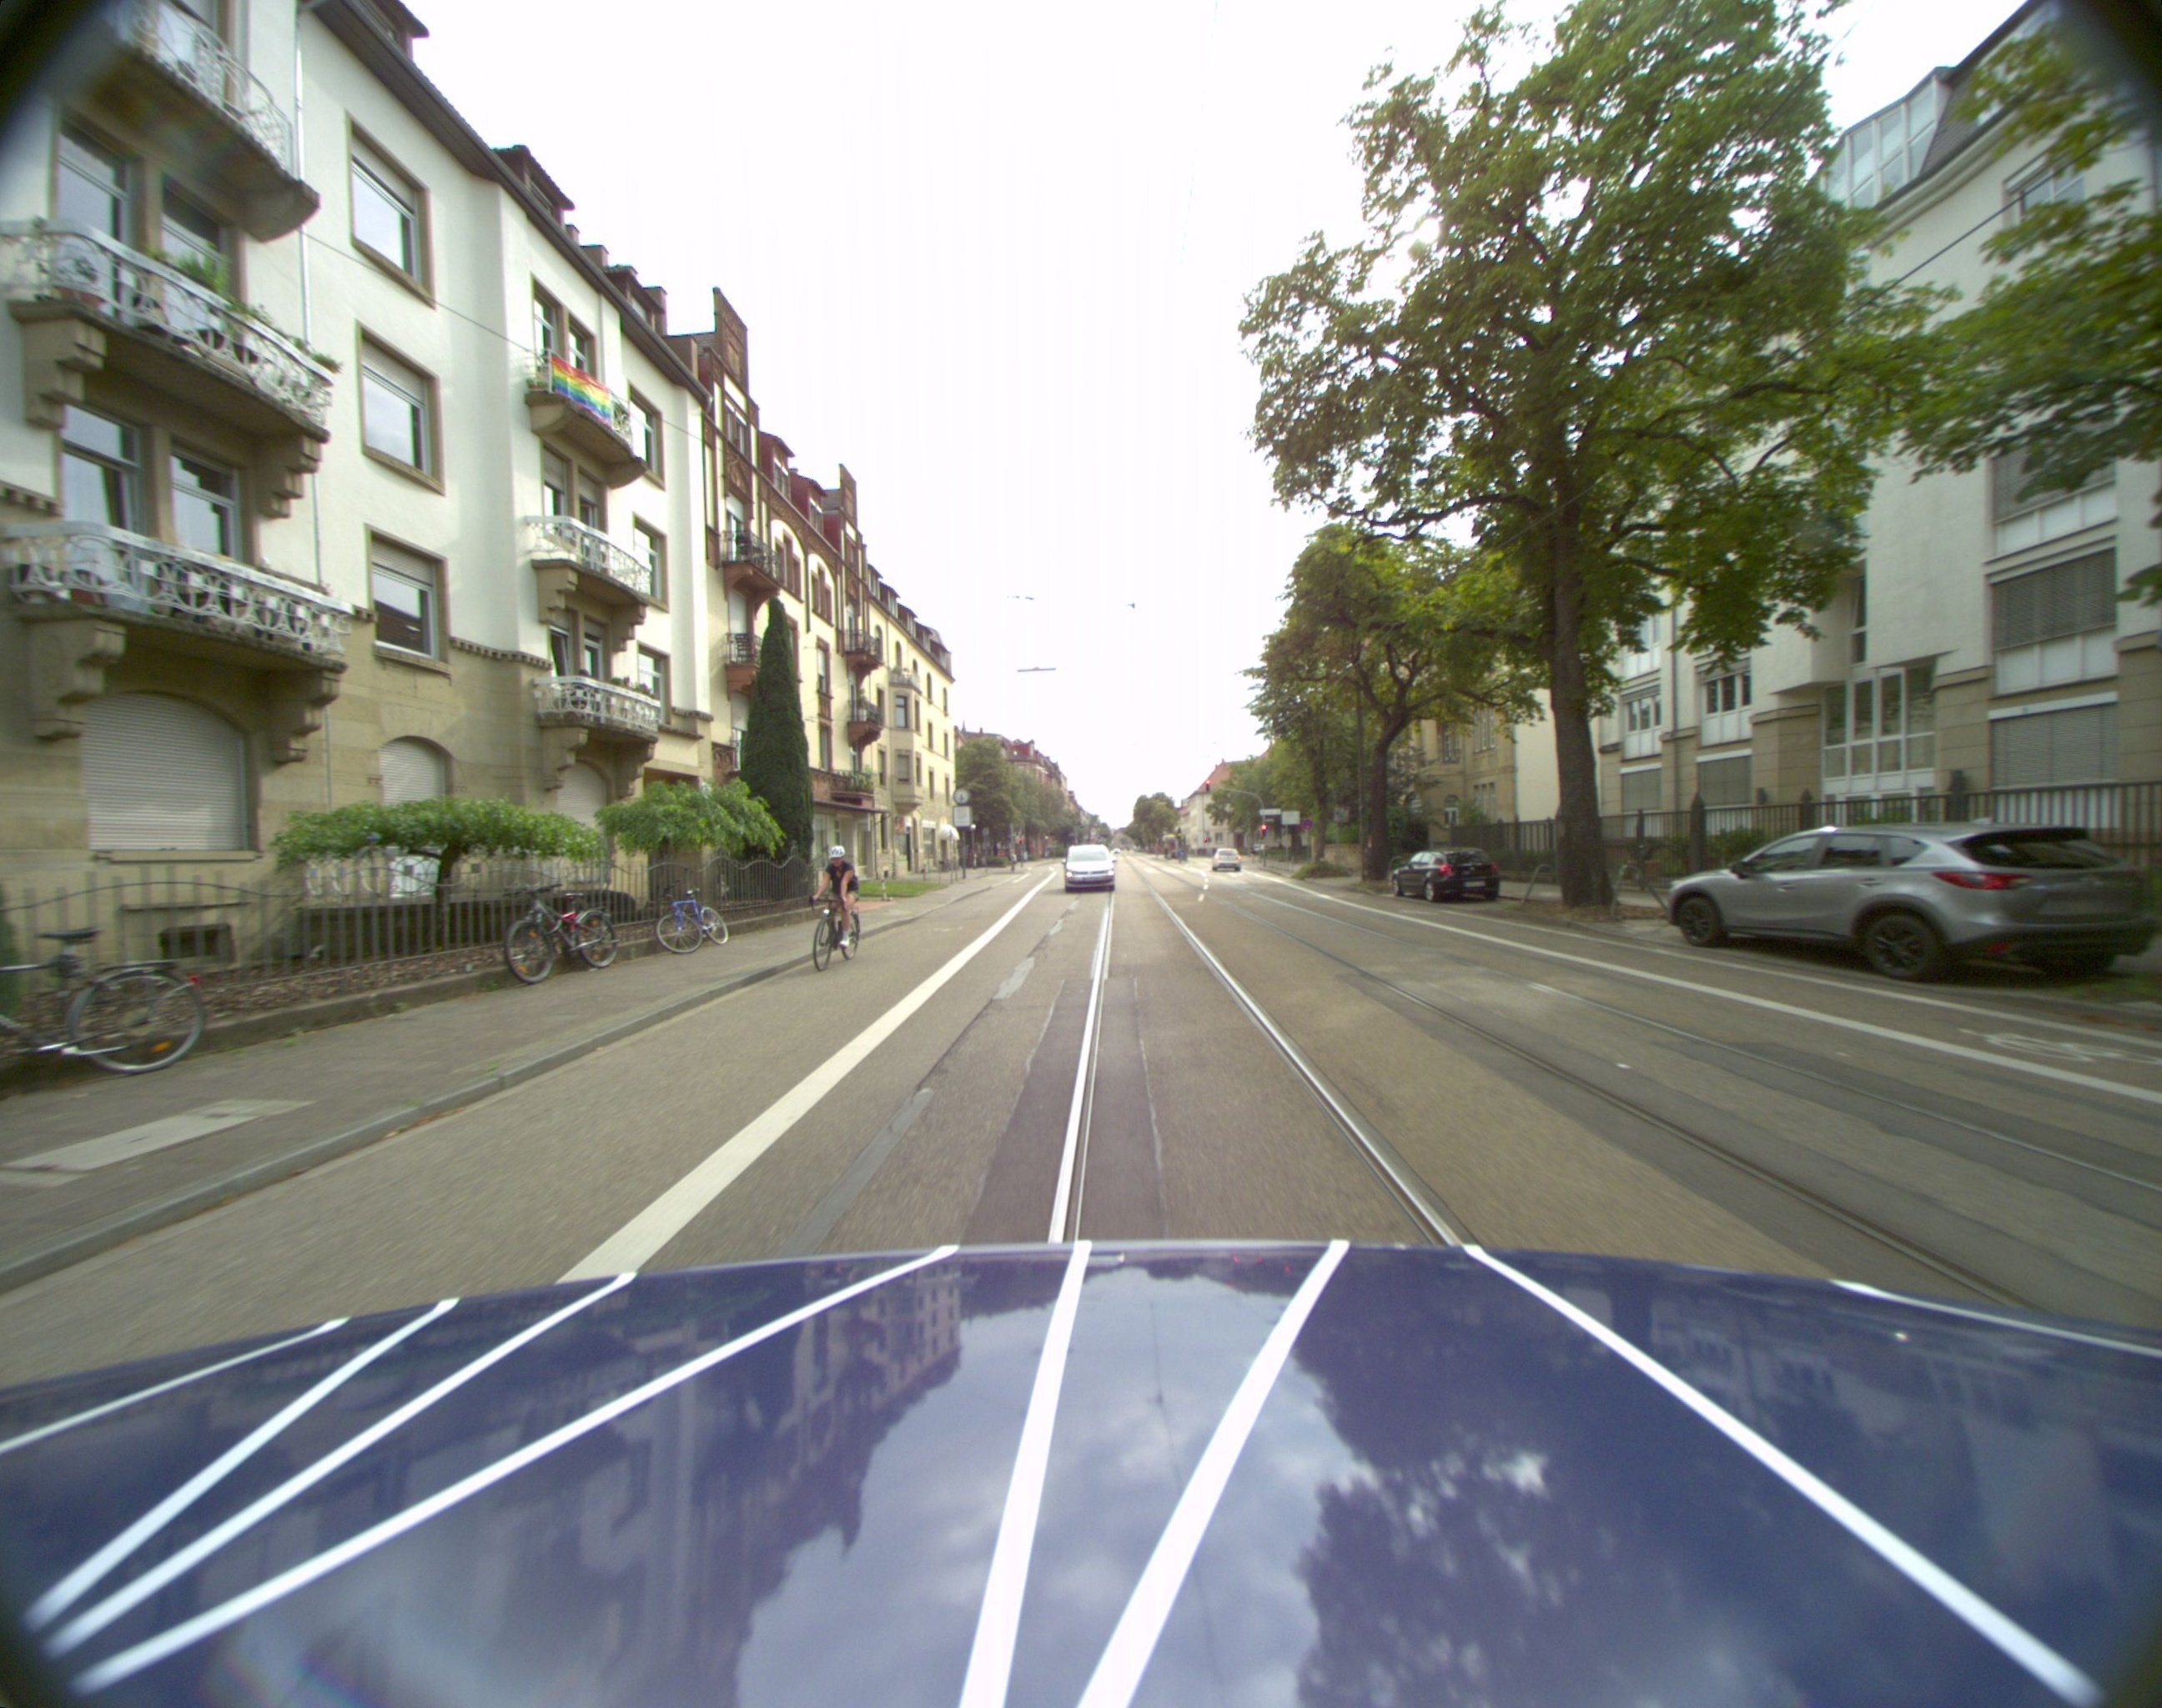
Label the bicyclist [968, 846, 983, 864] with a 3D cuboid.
[{"bbox_3d":[-10.108,0.123,72.620,0.841,1.680,1.243,-2,0,-41],"label":"bicyclist"}]

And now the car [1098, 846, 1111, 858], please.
[{"bbox_3d":[4.303,-0.427,138.599,1.997,2.002,4.002,-2,1,7],"label":"car"}]

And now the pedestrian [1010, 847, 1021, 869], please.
[{"bbox_3d":[-5.072,0.277,58.881,0.721,1.651,0.759,3,1,-1],"label":"pedestrian"}]

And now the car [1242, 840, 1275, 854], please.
[{"bbox_3d":[25.447,-1.052,109.161,4.188,1.854,1.857,-2,1,38],"label":"car"}]

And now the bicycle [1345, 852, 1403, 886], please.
[{"bbox_3d":[11.290,0.562,29.281,2.239,1.168,0.833,-3,1,-30],"label":"bicycle"}]

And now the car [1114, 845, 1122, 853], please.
[{"bbox_3d":[10.073,-1.468,205.256,1.998,2.002,4.001,-2,1,4],"label":"car"}]

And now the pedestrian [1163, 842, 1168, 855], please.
[{"bbox_3d":[11.133,-0.759,100.169,0.588,1.694,0.619,-3,1,-1],"label":"pedestrian"}]

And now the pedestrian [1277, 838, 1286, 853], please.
[{"bbox_3d":[27.561,-1.139,104.612,0.862,2.002,0.765,-2,2,37],"label":"pedestrian"}]

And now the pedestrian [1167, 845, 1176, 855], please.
[{"bbox_3d":[10.983,-0.492,92.277,1.032,1.230,0.723,-2,1,1],"label":"pedestrian"}]

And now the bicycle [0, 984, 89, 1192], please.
[{"bbox_3d":[-5.642,1.180,3.028,0.690,0.957,2.036,1,1,0],"label":"bicycle"}]

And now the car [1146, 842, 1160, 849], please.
[{"bbox_3d":[20.759,-2.428,219.874,3.995,1.716,1.877,-2,1,5],"label":"car"}]

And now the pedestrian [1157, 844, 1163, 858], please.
[{"bbox_3d":[10.787,-0.437,103.722,0.658,1.824,0.464,-3,1,-10],"label":"pedestrian"}]

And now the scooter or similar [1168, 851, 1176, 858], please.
[{"bbox_3d":[9.596,0.032,79.927,0.669,0.708,0.604,2,3,35],"label":"scooter or similar"}]

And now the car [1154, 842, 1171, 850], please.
[{"bbox_3d":[19.279,-1.889,179.832,3.995,1.716,1.877,-2,1,5],"label":"car"}]

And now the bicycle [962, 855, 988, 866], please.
[{"bbox_3d":[-10.142,0.607,72.671,0.888,1.039,3.088,-2,1,-41],"label":"bicycle"}]

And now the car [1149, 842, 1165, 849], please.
[{"bbox_3d":[20.105,-2.171,200.624,3.995,1.716,1.877,-2,1,5],"label":"car"}]

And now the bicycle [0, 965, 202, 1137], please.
[{"bbox_3d":[-6.505,1.237,4.863,0.278,0.848,1.198,0,2,3],"label":"bicycle"}]

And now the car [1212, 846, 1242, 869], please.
[{"bbox_3d":[9.384,0.180,49.052,1.574,1.408,4.001,1,1,6],"label":"car"}]

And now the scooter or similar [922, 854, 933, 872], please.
[{"bbox_3d":[-10.106,0.593,50.140,0.398,1.161,1.196,1,1,3],"label":"scooter or similar"}]

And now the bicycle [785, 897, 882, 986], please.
[{"bbox_3d":[-3.398,1.168,10.631,0.640,0.975,2.071,-1,1,0],"label":"bicycle"}]

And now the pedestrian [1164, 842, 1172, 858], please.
[{"bbox_3d":[9.246,-0.469,80.691,0.684,1.680,0.815,-1,1,2],"label":"pedestrian"}]

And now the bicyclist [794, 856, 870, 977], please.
[{"bbox_3d":[-3.404,0.819,10.456,0.640,1.561,1.110,-1,1,0],"label":"bicyclist"}]

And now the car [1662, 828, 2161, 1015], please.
[{"bbox_3d":[9.405,0.587,9.081,1.714,1.664,4.357,-2,1,2],"label":"car"}]

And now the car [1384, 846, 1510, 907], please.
[{"bbox_3d":[10.057,0.550,21.252,1.724,1.416,4.166,-4,1,5],"label":"car"}]

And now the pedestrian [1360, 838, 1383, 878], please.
[{"bbox_3d":[12.954,0.177,33.864,0.707,1.726,0.701,-3,1,-2],"label":"pedestrian"}]

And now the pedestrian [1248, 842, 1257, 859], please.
[{"bbox_3d":[16.432,-0.334,72.835,0.654,1.681,0.712,-1,1,-1],"label":"pedestrian"}]

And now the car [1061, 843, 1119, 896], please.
[{"bbox_3d":[0.406,0.493,27.529,1.766,1.661,4.330,-3,1,4],"label":"car"}]

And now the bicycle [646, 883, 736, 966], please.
[{"bbox_3d":[-5.995,1.046,11.775,0.392,1.096,1.759,0,1,3],"label":"bicycle"}]

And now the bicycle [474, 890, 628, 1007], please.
[{"bbox_3d":[-6.232,1.050,9.068,0.392,1.135,1.921,0,1,3],"label":"bicycle"}]

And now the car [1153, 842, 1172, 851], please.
[{"bbox_3d":[18.287,-1.736,170.537,3.995,1.716,1.877,-2,1,5],"label":"car"}]
